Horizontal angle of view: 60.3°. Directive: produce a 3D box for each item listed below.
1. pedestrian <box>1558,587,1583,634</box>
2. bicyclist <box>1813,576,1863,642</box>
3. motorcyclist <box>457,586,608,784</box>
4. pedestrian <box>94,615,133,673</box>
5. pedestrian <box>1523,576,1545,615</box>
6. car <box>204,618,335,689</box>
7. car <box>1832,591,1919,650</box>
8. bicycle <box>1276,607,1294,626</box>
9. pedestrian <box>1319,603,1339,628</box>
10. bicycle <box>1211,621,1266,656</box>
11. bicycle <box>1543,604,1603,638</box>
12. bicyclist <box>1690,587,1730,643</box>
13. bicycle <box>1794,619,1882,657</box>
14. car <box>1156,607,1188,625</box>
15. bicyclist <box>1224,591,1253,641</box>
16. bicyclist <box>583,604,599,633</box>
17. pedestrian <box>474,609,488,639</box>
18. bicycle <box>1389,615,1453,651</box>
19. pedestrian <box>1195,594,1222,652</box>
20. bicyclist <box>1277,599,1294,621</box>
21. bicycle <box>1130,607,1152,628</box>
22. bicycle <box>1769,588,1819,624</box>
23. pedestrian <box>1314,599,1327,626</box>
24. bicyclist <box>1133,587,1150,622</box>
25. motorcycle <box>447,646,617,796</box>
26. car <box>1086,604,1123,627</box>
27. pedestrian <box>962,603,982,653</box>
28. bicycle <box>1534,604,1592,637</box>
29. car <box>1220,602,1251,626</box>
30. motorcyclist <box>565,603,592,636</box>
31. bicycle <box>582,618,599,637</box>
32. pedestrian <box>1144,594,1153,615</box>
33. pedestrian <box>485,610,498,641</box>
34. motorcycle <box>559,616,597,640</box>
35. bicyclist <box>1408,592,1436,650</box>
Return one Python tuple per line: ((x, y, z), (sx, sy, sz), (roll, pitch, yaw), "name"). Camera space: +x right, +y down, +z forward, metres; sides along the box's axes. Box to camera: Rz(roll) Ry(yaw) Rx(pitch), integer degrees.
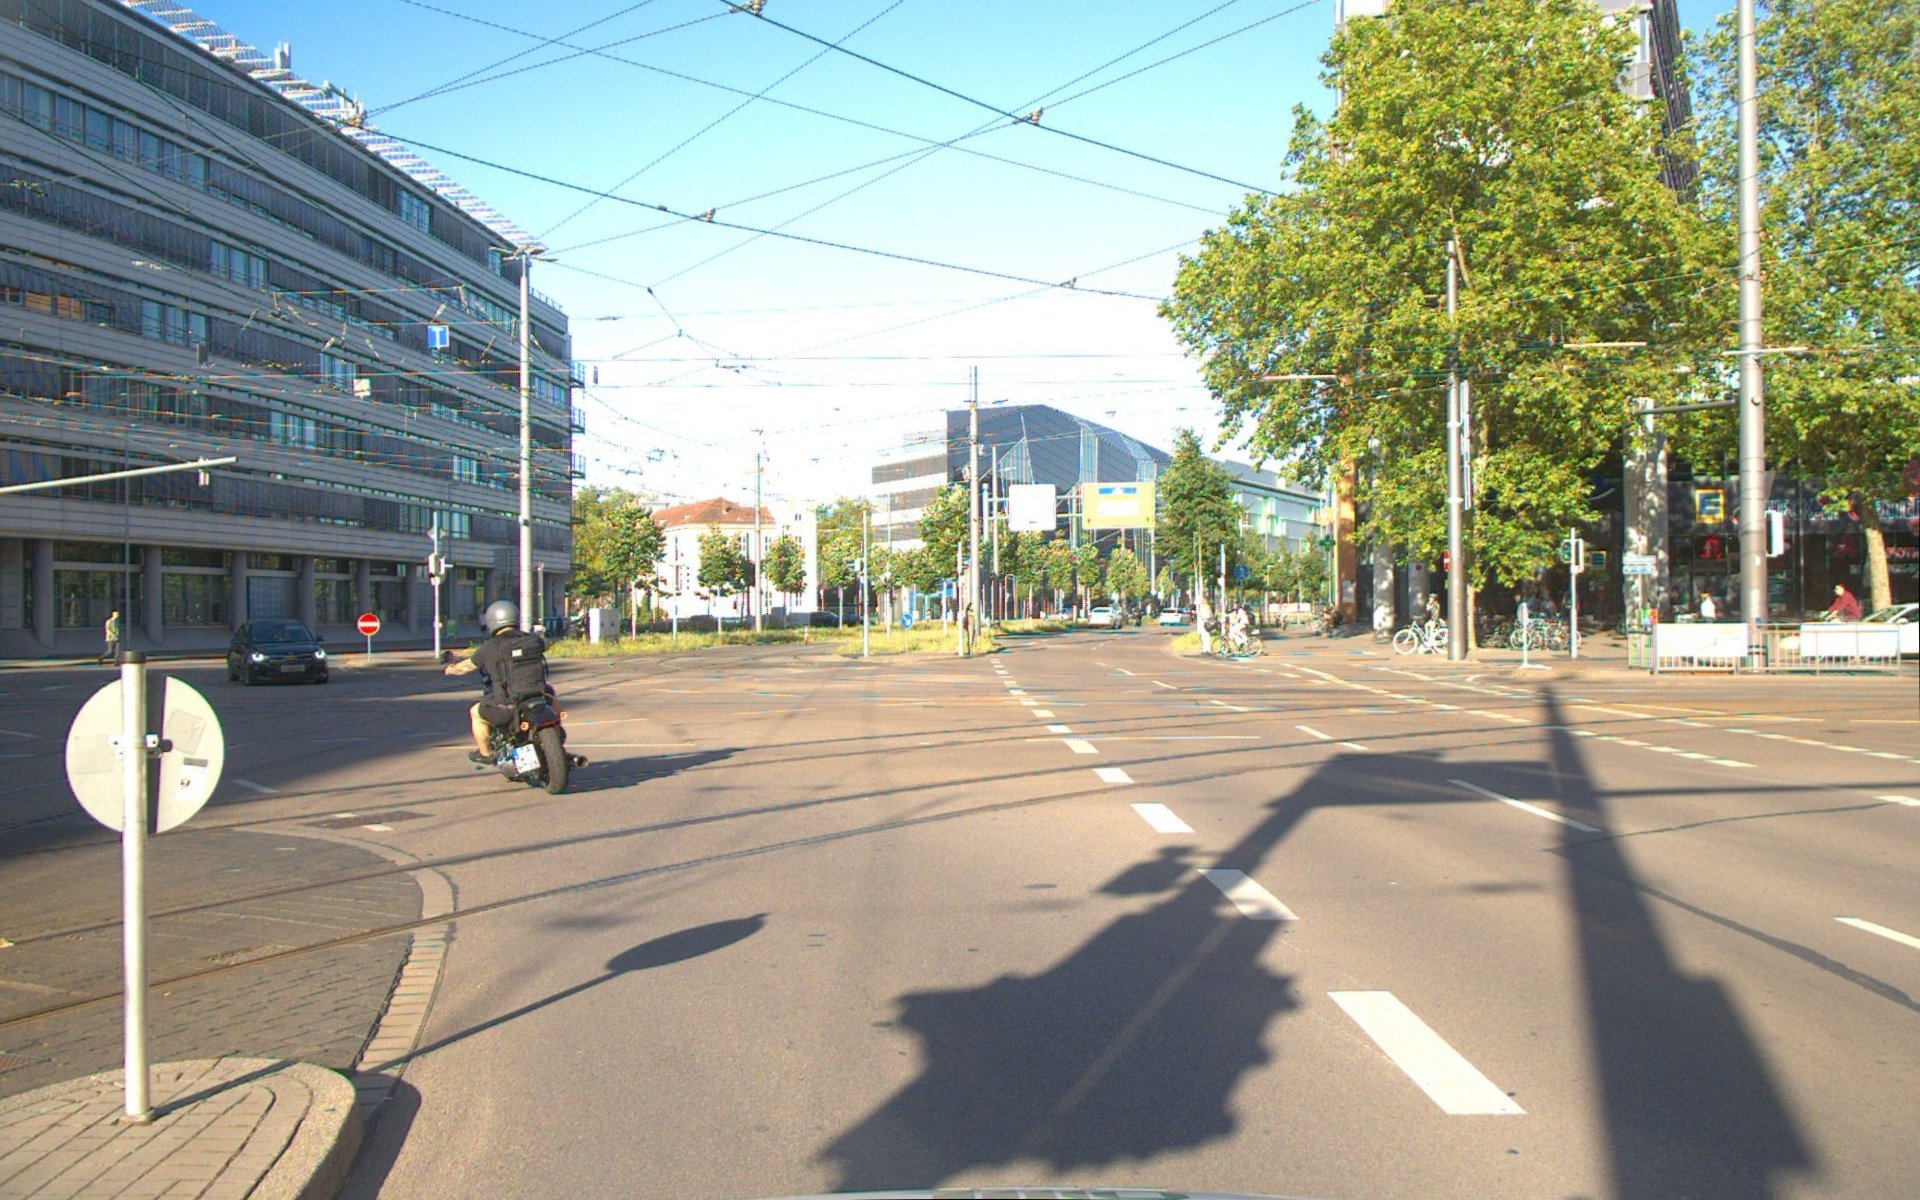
((24.472, 0.422, 66.278), (0.830, 1.884, 0.809), (1, 0, 24), "pedestrian")
((21.992, 0.229, 41.429), (0.906, 1.643, 0.638), (-1, 0, 2), "bicyclist")
((-3.635, 0.682, 14.003), (1.010, 1.579, 1.276), (1, 0, -26), "motorcyclist")
((-27.848, 1.437, 54.417), (0.864, 1.855, 0.677), (-2, -1, 18), "pedestrian")
((23.051, -0.193, 66.402), (0.760, 1.554, 0.564), (-1, -1, 23), "pedestrian")
((-16.025, 1.189, 38.269), (1.778, 1.491, 4.253), (-2, 1, -37), "car")
((25.283, 0.546, 43.268), (3.903, 1.512, 2.001), (0, -1, 3), "car")
((20.852, 1.040, 106.219), (1.018, 1.153, 3.183), (-1, 0, 9), "bicycle")
((16.832, 0.705, 75.406), (0.768, 1.075, 0.814), (-1, 0, 21), "pedestrian")
((8.696, 1.197, 51.645), (1.593, 1.039, 0.516), (-1, -1, 19), "bicycle")
((18.620, 0.642, 50.244), (1.668, 1.003, 0.391), (-1, 0, 12), "bicycle")
((26.324, 0.522, 58.052), (1.203, 1.965, 0.834), (-1, 0, 29), "bicyclist")
((21.979, 0.945, 41.419), (1.814, 0.926, 0.652), (-1, 0, 3), "bicycle")
((17.601, 1.292, 137.136), (1.973, 1.400, 4.041), (-1, 0, 16), "car")
((8.699, 0.498, 51.653), (0.727, 1.529, 0.570), (-1, -1, 23), "bicyclist")
((-22.403, 1.117, 100.377), (0.748, 1.696, 0.994), (0, 0, 1), "bicyclist")
((-27.895, 1.388, 96.354), (0.536, 1.764, 0.642), (-1, 0, 5), "pedestrian")
((13.890, 1.006, 49.860), (1.813, 1.039, 0.517), (-1, -1, 10), "bicycle")
((8.062, 0.756, 53.682), (0.688, 1.869, 0.513), (0, -1, 34), "pedestrian")
((20.901, 0.652, 106.243), (1.018, 1.405, 1.565), (-1, 0, 9), "bicyclist")
((13.871, 1.326, 126.703), (0.994, 1.607, 3.576), (-1, 0, 16), "bicycle")
((27.636, 0.185, 54.776), (0.861, 1.110, 2.918), (0, 1, 39), "bicycle")
((21.490, 0.737, 98.555), (0.690, 1.597, 0.623), (-1, 0, 12), "pedestrian")
((13.906, 0.370, 126.761), (0.994, 2.670, 1.473), (-1, 0, 16), "bicyclist")
((-3.662, 0.981, 13.991), (0.993, 1.145, 2.304), (1, -3, -25), "motorcycle")
((9.858, 1.059, 112.893), (1.861, 1.534, 4.003), (0, -1, 15), "car")
((0.387, 0.899, 53.145), (0.643, 1.610, 0.489), (0, 0, 2), "pedestrian")
((18.957, 0.652, 52.009), (1.668, 1.003, 0.391), (-1, 0, 12), "bicycle")
((22.397, 1.174, 134.450), (2.009, 1.906, 4.229), (0, -1, 16), "car")
((-21.105, 1.076, 91.514), (0.997, 1.761, 1.462), (-1, 0, 9), "motorcyclist")
((-22.402, 1.684, 100.352), (0.629, 1.127, 1.685), (0, 0, 1), "bicycle")
((16.756, 0.440, 146.991), (0.629, 1.850, 0.628), (-1, 0, 31), "pedestrian")
((-27.291, 1.492, 96.383), (0.536, 1.764, 0.642), (-1, 0, 5), "pedestrian")
((-21.107, 1.528, 91.464), (0.962, 1.253, 2.945), (-1, 0, 10), "motorcycle")
((13.931, 0.642, 49.859), (0.727, 1.724, 0.570), (-1, -1, 10), "bicyclist")
